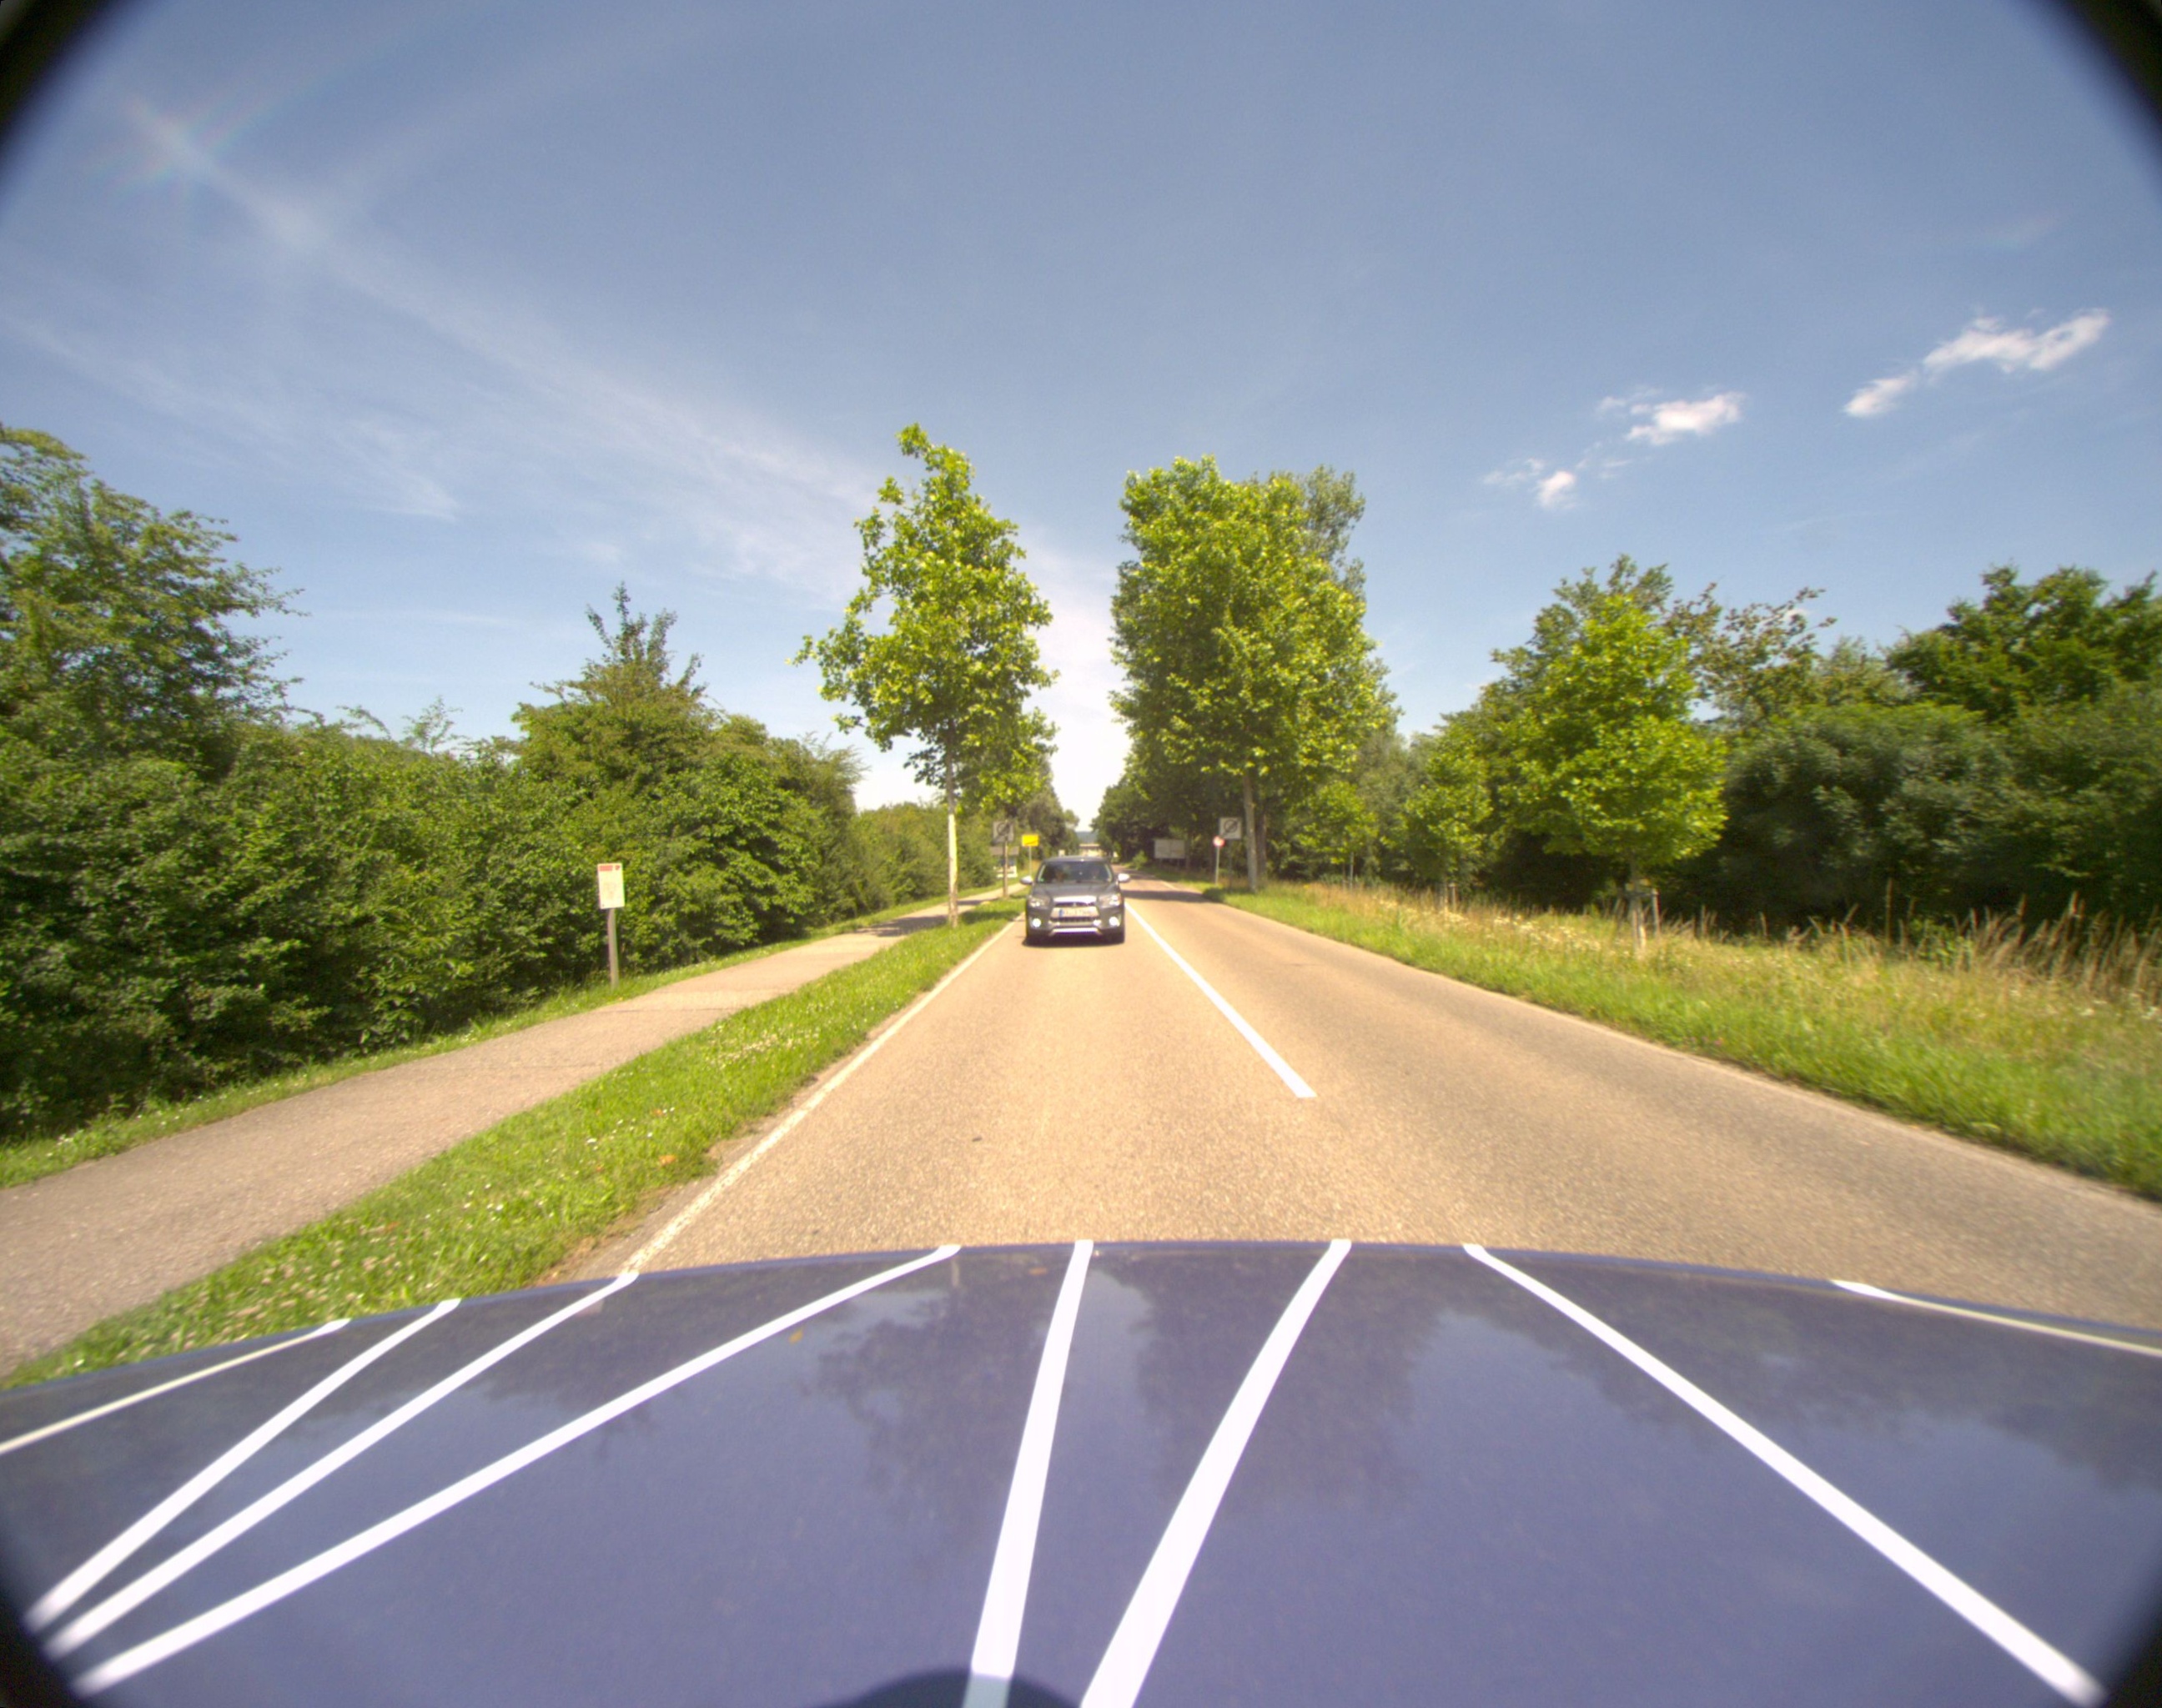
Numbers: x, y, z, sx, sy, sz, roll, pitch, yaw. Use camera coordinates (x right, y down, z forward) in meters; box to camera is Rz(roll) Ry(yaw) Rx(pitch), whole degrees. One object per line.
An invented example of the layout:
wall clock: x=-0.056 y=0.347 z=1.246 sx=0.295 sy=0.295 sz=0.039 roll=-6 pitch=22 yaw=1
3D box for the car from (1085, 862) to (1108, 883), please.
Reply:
car: x=1.031 y=1.186 z=50.174 sx=1.429 sy=1.270 sz=3.160 roll=-1 pitch=0 yaw=1

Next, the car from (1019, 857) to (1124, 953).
car: x=-0.141 y=0.873 z=15.066 sx=1.750 sy=1.525 sz=4.524 roll=-1 pitch=1 yaw=0
